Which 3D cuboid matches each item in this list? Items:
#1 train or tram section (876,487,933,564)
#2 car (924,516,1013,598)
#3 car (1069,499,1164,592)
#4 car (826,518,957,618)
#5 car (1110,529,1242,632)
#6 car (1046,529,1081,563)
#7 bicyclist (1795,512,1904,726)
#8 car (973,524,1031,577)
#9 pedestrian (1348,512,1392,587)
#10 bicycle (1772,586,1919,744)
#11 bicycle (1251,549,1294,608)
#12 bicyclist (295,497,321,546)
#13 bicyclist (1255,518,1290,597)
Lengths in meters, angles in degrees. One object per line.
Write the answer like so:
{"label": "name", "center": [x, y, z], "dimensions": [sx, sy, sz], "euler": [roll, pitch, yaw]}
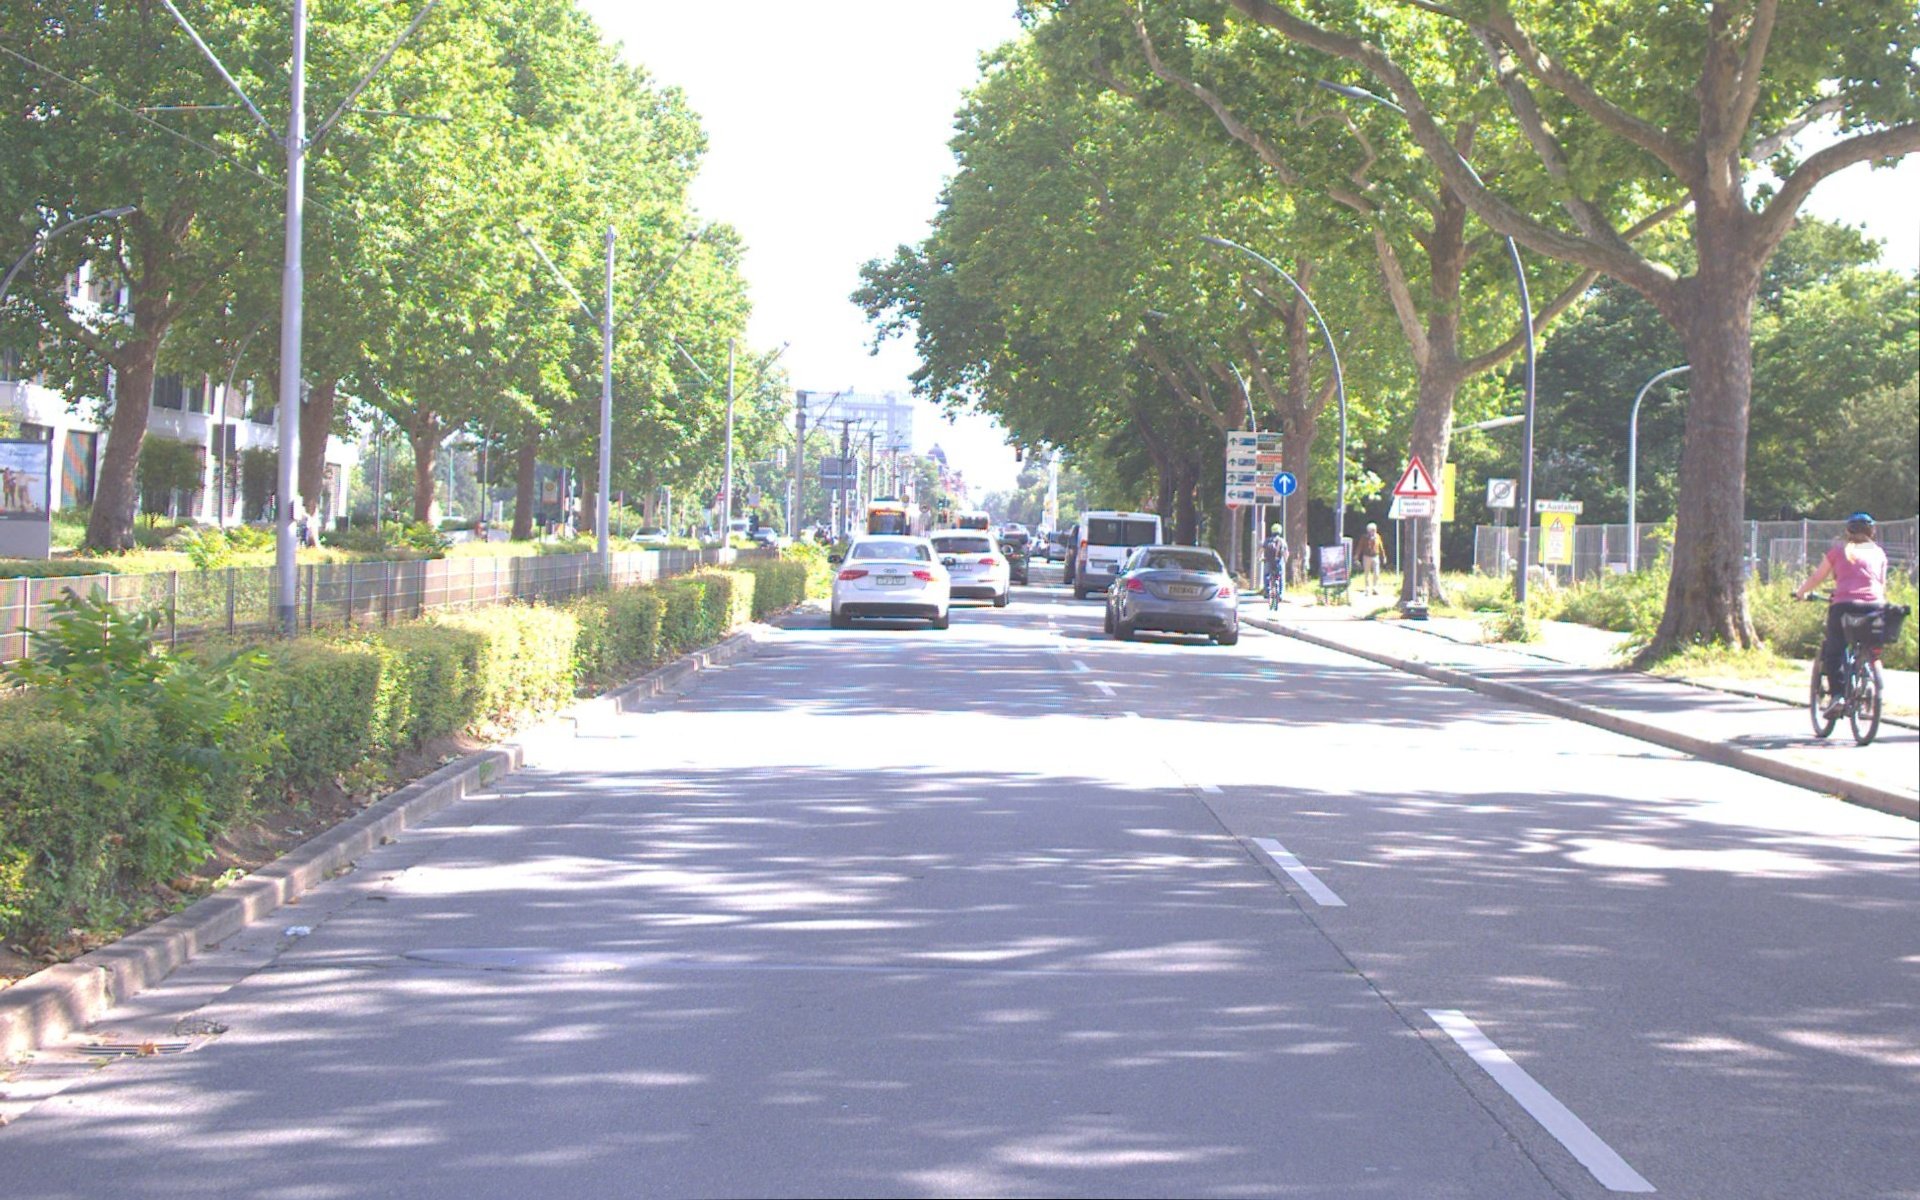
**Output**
{"label": "train or tram section", "center": [-2.983, -4.045, 186.859], "dimensions": [2.617, 4.001, 7.749], "euler": [2, 1, 2]}
{"label": "car", "center": [0.201, -0.909, 72.194], "dimensions": [1.729, 1.599, 3.885], "euler": [2, 1, 1]}
{"label": "car", "center": [3.922, -1.368, 86.829], "dimensions": [2.230, 2.204, 4.162], "euler": [2, 1, 1]}
{"label": "car", "center": [-1.021, -0.512, 52.981], "dimensions": [1.785, 1.416, 3.885], "euler": [2, 1, 1]}
{"label": "car", "center": [3.200, -0.312, 51.529], "dimensions": [1.782, 1.415, 4.000], "euler": [2, 1, 1]}
{"label": "car", "center": [6.394, -3.309, 212.054], "dimensions": [2.072, 1.992, 4.058], "euler": [2, 1, 1]}
{"label": "bicyclist", "center": [6.718, 0.134, 25.983], "dimensions": [0.620, 1.594, 0.732], "euler": [0, 1, -1]}
{"label": "car", "center": [1.346, -1.564, 108.391], "dimensions": [1.729, 1.599, 3.885], "euler": [2, 1, 1]}
{"label": "pedestrian", "center": [10.641, -1.315, 89.247], "dimensions": [0.939, 1.886, 1.151], "euler": [2, 1, 1]}
{"label": "bicycle", "center": [6.720, 0.471, 26.094], "dimensions": [0.651, 1.125, 1.945], "euler": [0, 1, 1]}
{"label": "bicycle", "center": [6.620, -0.469, 72.864], "dimensions": [0.714, 1.144, 2.178], "euler": [-1, 3, 0]}
{"label": "bicyclist", "center": [-20.557, -2.480, 108.392], "dimensions": [0.654, 1.529, 0.641], "euler": [2, 1, 2]}
{"label": "bicyclist", "center": [6.621, -0.904, 72.844], "dimensions": [0.634, 1.642, 0.979], "euler": [-1, 2, 1]}
